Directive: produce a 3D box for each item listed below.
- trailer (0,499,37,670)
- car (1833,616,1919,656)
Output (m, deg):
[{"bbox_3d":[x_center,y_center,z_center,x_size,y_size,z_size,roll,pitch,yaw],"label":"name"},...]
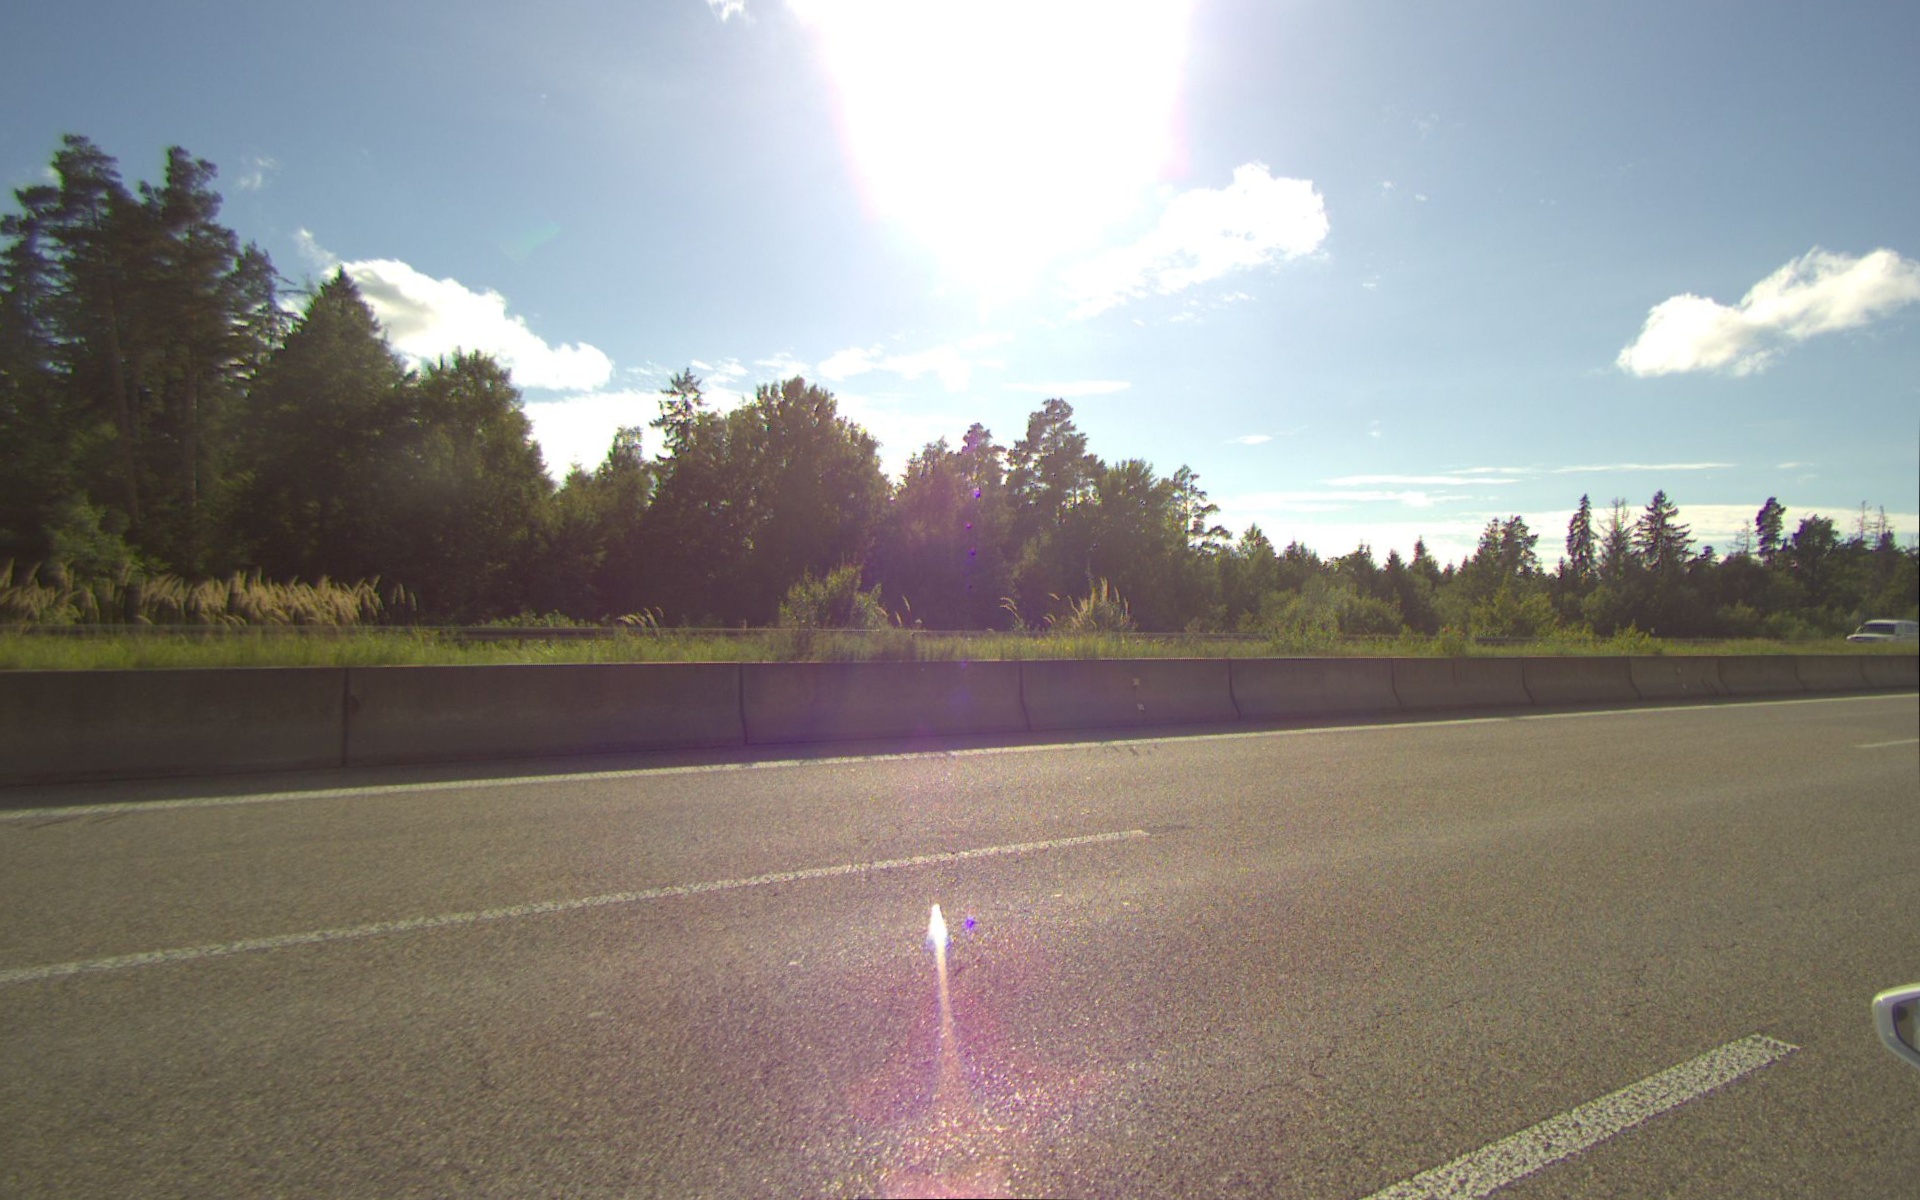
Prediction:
[{"bbox_3d":[-18.053,-0.308,15.277,5.500,2.719,2.257,1,0,-32],"label":"trailer"},{"bbox_3d":[49.994,1.942,54.696,5.321,2.040,1.985,1,0,-29],"label":"car"}]
